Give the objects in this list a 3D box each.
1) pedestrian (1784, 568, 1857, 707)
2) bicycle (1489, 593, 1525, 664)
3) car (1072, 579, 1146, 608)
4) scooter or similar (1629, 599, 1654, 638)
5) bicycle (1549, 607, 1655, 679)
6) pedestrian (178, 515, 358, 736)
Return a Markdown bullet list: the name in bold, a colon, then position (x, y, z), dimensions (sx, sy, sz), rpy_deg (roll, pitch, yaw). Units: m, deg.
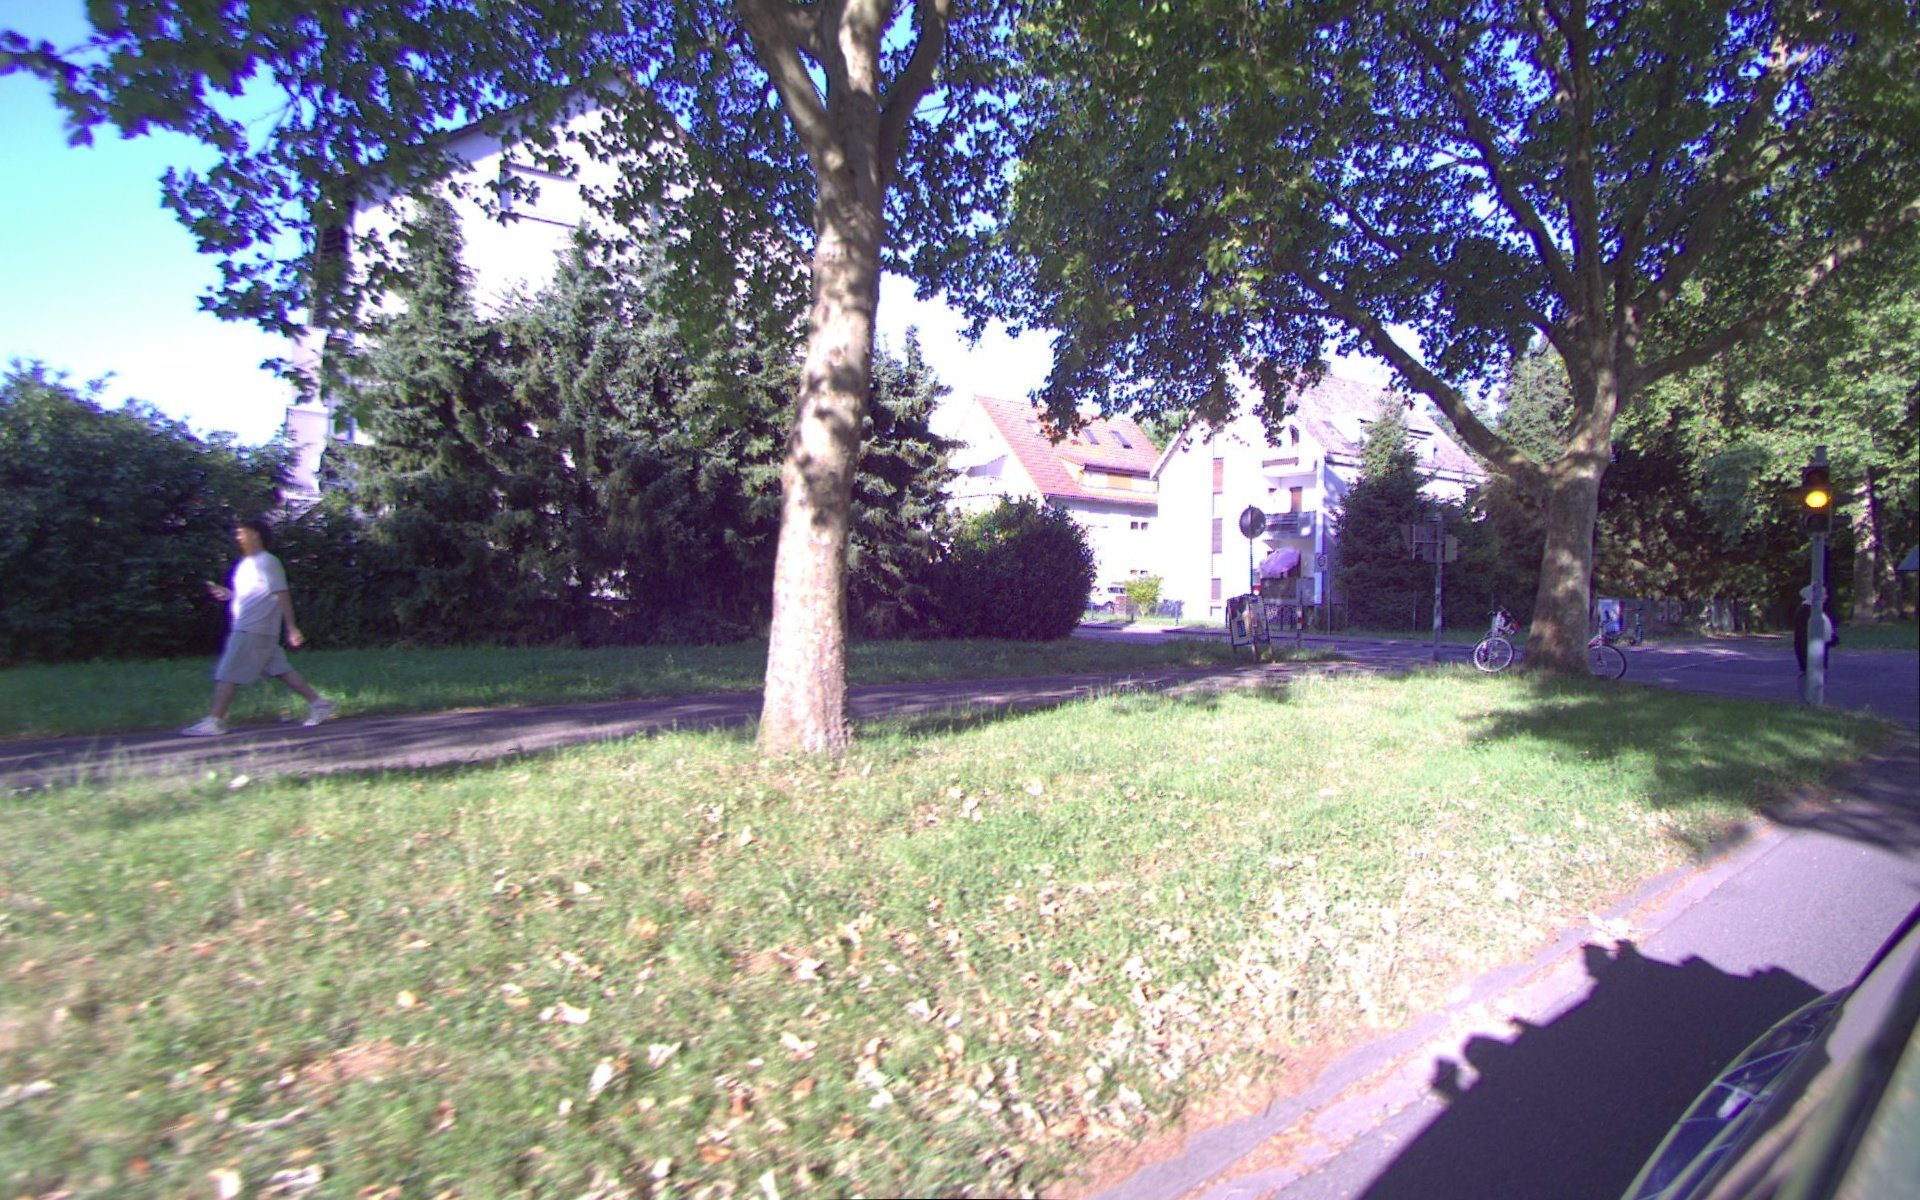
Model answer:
- **pedestrian**: position (11.318, 0.470, 13.317), dimensions (0.634, 1.740, 0.813), rpy_deg (4, 2, 41)
- **bicycle**: position (9.091, 0.457, 16.824), dimensions (0.442, 1.096, 1.987), rpy_deg (3, 1, 28)
- **car**: position (7.854, -0.342, 53.422), dimensions (3.512, 1.439, 1.708), rpy_deg (1, 1, -28)
- **scooter or similar**: position (21.289, 0.570, 31.614), dimensions (1.234, 1.212, 0.382), rpy_deg (1, -1, -43)
- **bicycle**: position (10.472, 0.676, 16.566), dimensions (0.437, 1.048, 1.722), rpy_deg (3, 1, -6)
- **pedestrian**: position (-5.593, 0.173, 8.217), dimensions (0.772, 1.670, 0.933), rpy_deg (1, 1, 19)
